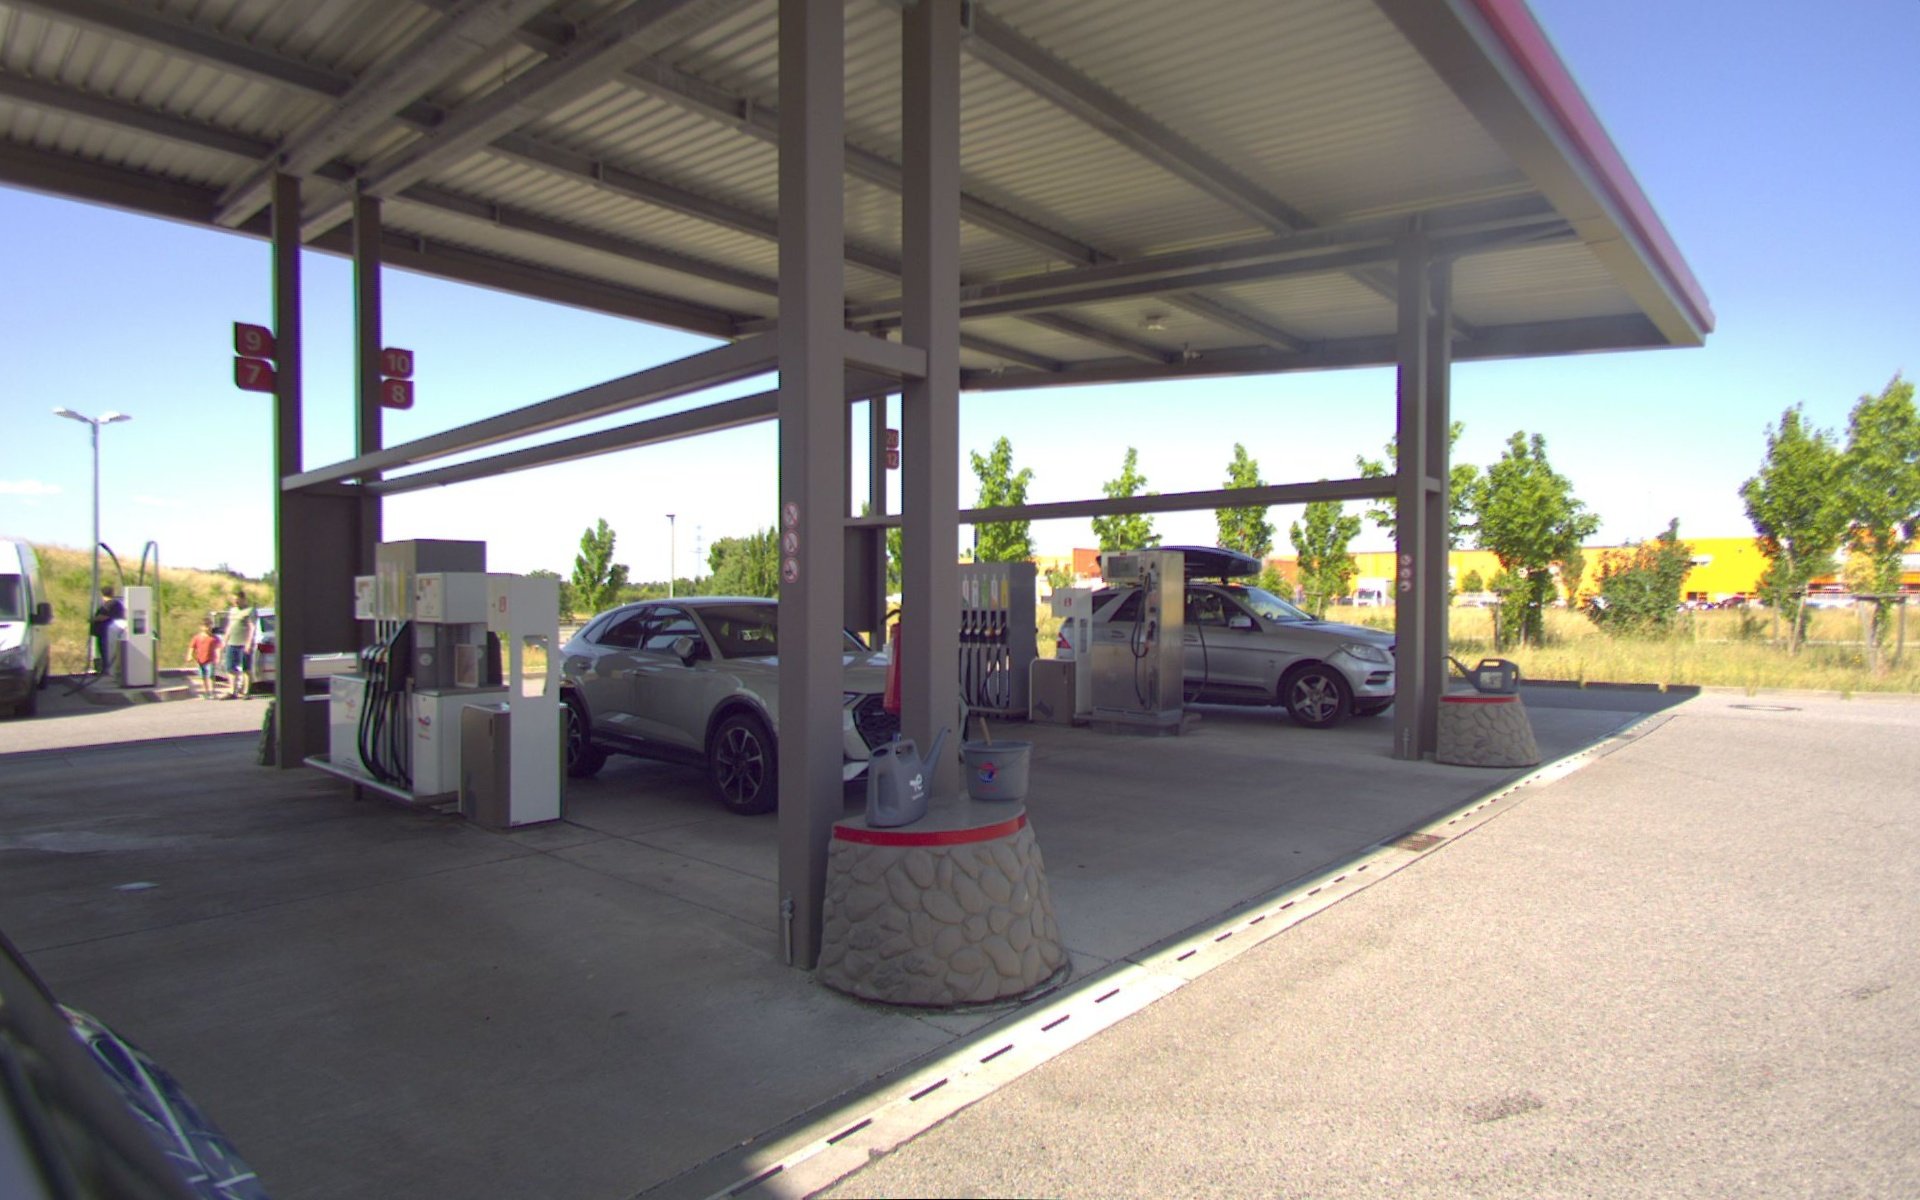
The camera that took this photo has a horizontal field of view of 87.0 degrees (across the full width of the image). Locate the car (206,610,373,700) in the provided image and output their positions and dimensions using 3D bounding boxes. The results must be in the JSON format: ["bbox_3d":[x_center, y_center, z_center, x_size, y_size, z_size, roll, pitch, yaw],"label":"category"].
[{"bbox_3d":[-12.661,0.940,19.008,4.324,1.439,1.767,0,0,45],"label":"car"}]

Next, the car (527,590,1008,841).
[{"bbox_3d":[-1.810,0.740,8.414,4.327,1.553,1.760,-1,-1,44],"label":"car"}]

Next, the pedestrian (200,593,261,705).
[{"bbox_3d":[-11.871,0.776,16.470,0.699,1.762,0.846,0,-1,-44],"label":"pedestrian"}]

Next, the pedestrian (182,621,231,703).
[{"bbox_3d":[-12.536,1.018,16.829,0.569,1.316,0.669,0,-1,-44],"label":"pedestrian"}]

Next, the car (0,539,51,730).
[{"bbox_3d":[-15.818,0.382,15.948,1.968,2.590,7.043,0,1,-40],"label":"car"}]

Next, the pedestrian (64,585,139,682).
[{"bbox_3d":[-16.179,0.615,19.090,0.832,1.783,0.710,-1,-1,-7],"label":"pedestrian"}]

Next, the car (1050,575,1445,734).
[{"bbox_3d":[3.549,0.618,13.008,4.532,1.700,1.841,-1,-1,40],"label":"car"}]

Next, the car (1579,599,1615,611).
[{"bbox_3d":[68.578,0.561,108.963,1.464,1.309,2.947,0,-1,-45],"label":"car"}]
